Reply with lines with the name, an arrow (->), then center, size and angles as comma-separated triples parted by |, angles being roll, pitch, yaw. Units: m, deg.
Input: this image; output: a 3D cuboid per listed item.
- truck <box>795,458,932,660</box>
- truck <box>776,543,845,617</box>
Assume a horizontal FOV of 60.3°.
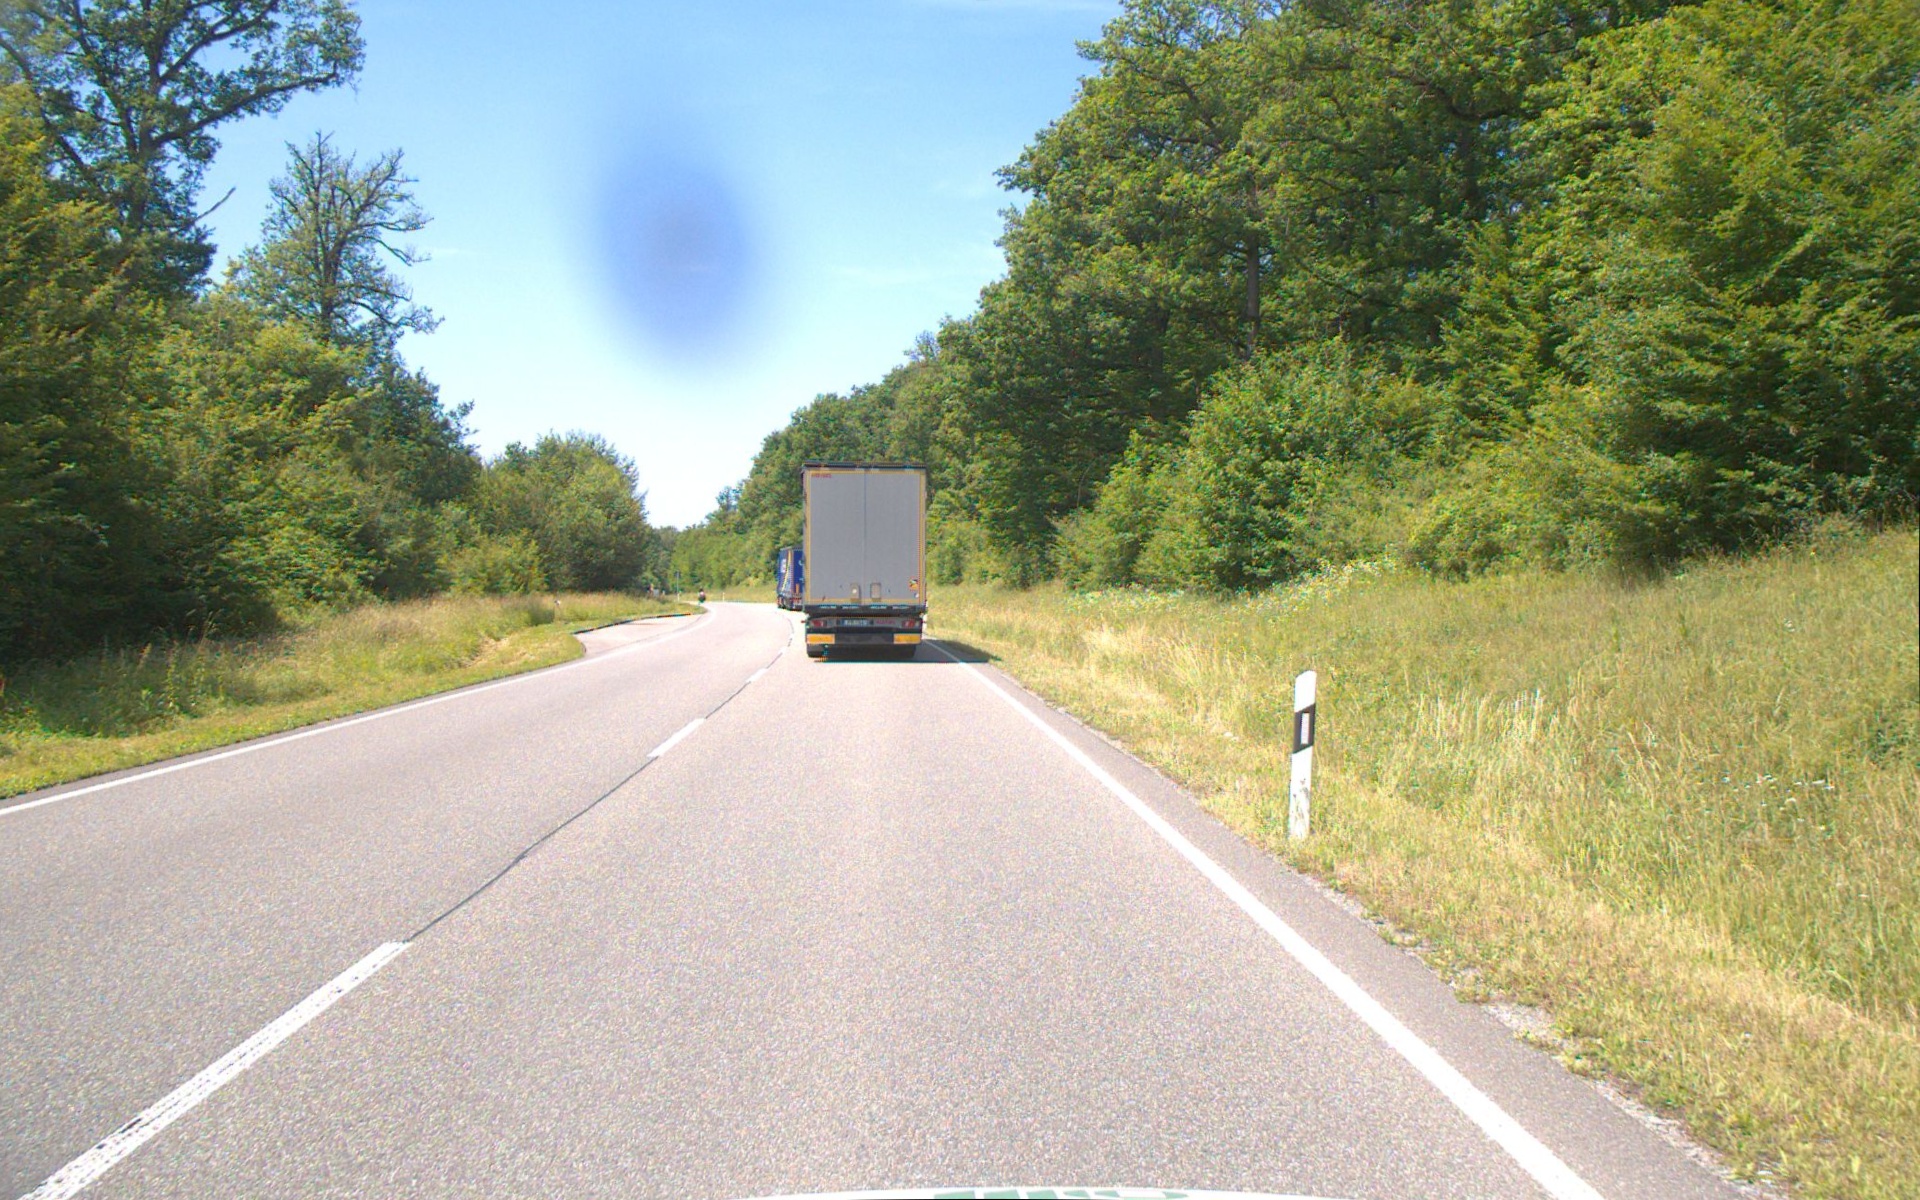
truck -> -2.306, -0.841, 39.175 | 2.706, 4.016, 12.188 | 0, 0, -4
truck -> -10.078, -1.300, 109.718 | 3.722, 4.449, 14.891 | 1, 0, -8
